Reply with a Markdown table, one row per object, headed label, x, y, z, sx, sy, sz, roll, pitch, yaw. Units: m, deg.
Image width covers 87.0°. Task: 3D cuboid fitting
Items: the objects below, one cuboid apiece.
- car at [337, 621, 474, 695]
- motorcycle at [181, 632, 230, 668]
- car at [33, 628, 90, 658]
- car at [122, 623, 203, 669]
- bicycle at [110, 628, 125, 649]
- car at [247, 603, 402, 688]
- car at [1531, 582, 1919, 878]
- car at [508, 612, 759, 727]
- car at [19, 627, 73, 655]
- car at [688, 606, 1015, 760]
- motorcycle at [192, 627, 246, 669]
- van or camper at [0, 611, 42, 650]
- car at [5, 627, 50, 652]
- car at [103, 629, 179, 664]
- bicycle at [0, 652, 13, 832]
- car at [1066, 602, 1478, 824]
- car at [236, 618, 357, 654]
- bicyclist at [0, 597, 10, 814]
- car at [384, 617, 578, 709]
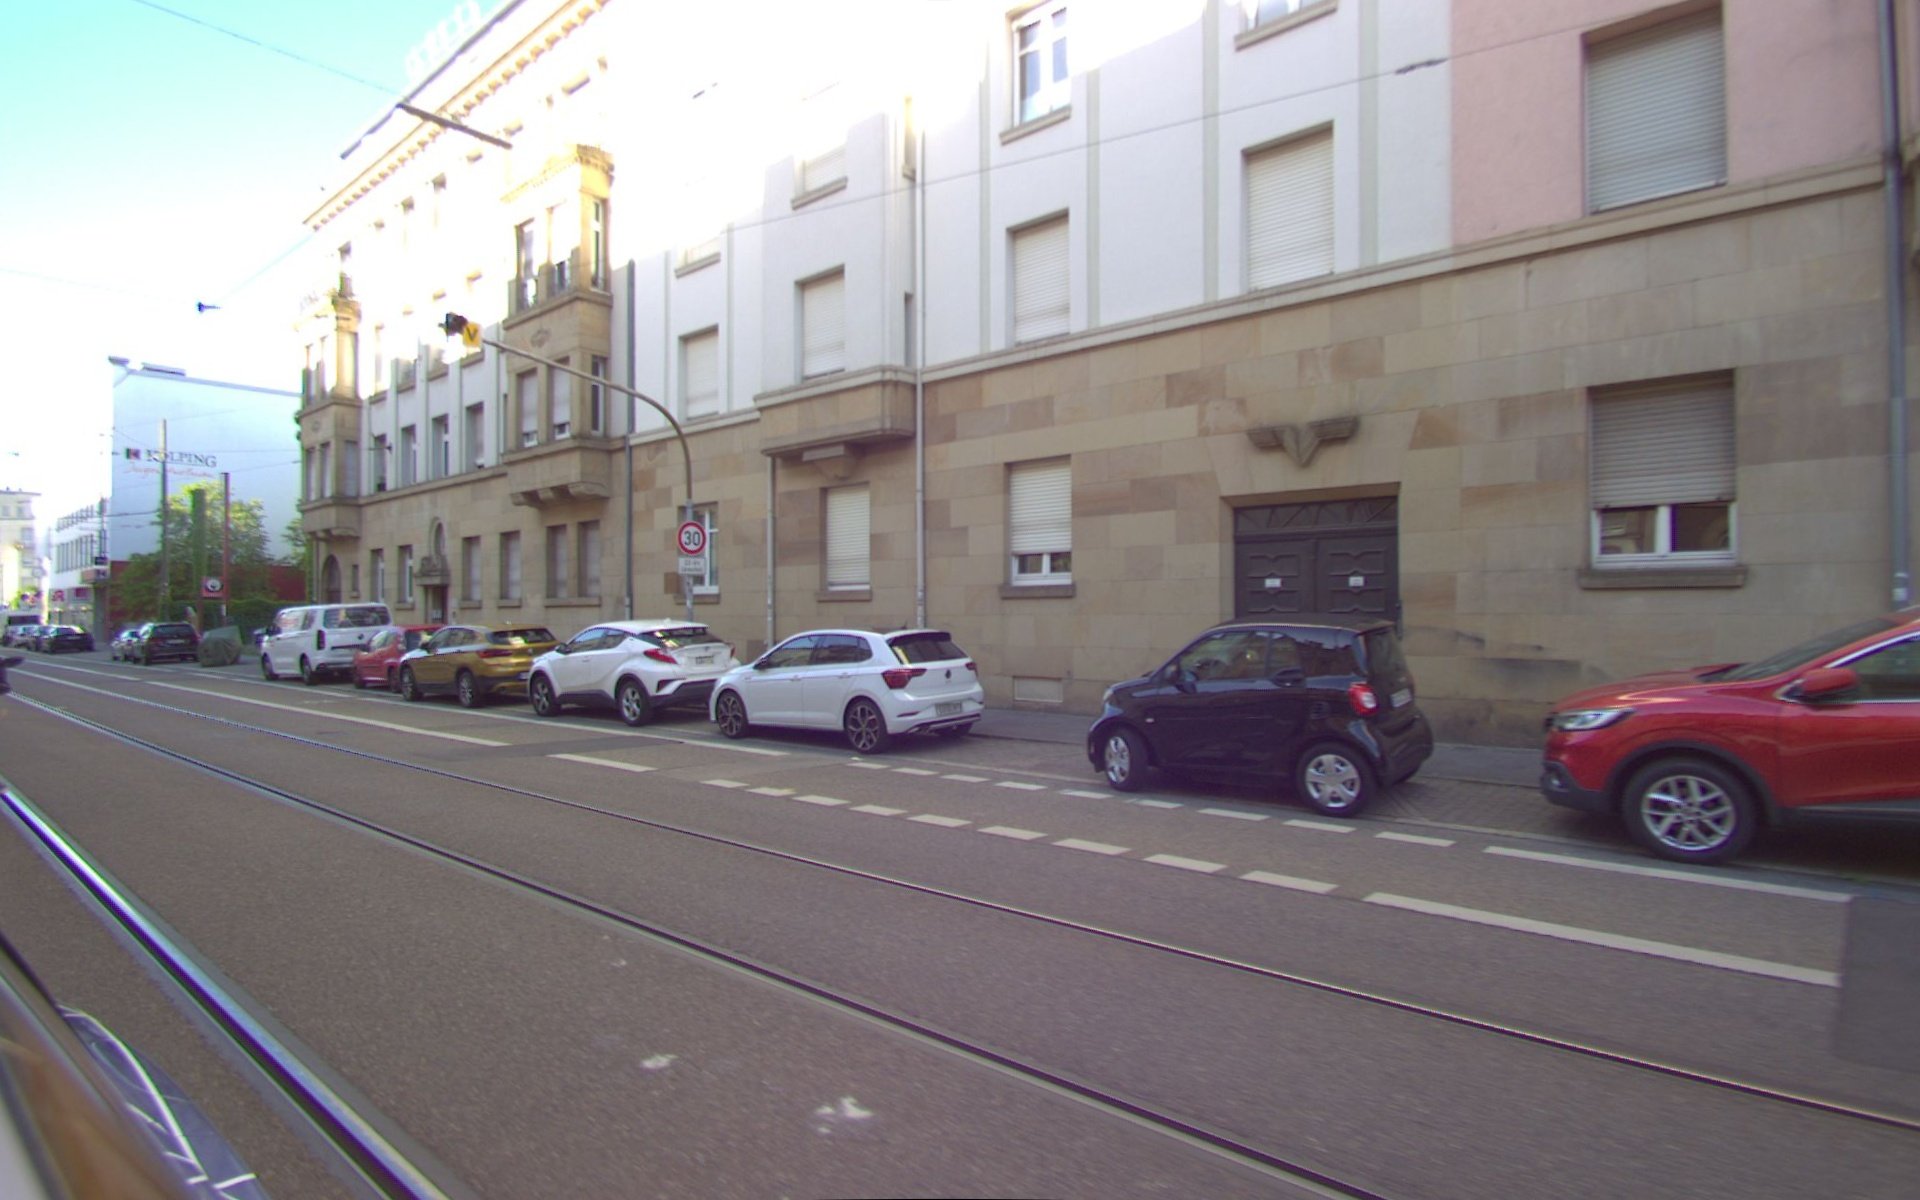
| label | x | y | z | sx | sy | sz | roll | pitch | yaw |
| --- | --- | --- | --- | --- | --- | --- | --- | --- | --- |
| car | -12.723 | 1.268 | 23.137 | 3.645 | 1.484 | 1.586 | -1 | 0 | 42 |
| motorcycle | -26.677 | 1.736 | 35.826 | 0.729 | 1.180 | 2.187 | -1 | -1 | -19 |
| car | -48.574 | 2.287 | 54.662 | 4.840 | 1.456 | 1.764 | -1 | 0 | 42 |
| car | -30.537 | 1.712 | 38.702 | 4.611 | 1.577 | 1.763 | -1 | 0 | 44 |
| bicycle | -49.389 | 2.253 | 59.331 | 2.050 | 1.183 | 0.435 | -1 | -1 | 43 |
| car | -16.715 | 1.138 | 26.488 | 5.248 | 1.963 | 1.953 | -1 | 0 | 41 |
| car | 6.105 | 0.706 | 6.097 | 4.393 | 1.618 | 1.765 | -1 | 0 | 40 |
| car | -5.343 | 1.027 | 16.284 | 4.362 | 1.558 | 1.754 | -1 | 0 | 40 |
| car | -52.885 | 2.320 | 58.518 | 4.697 | 1.492 | 1.765 | -1 | 0 | 41 |
| car | -1.506 | 0.955 | 13.078 | 4.175 | 1.634 | 1.765 | -1 | 0 | 40 |
| motorcycle | -25.254 | 1.625 | 34.517 | 0.871 | 1.361 | 1.963 | -1 | -1 | -16 |
| van or camper | -64.848 | 2.072 | 69.311 | 6.228 | 2.486 | 2.149 | -1 | 0 | 41 |
| car | -59.546 | 2.497 | 64.623 | 4.445 | 1.409 | 1.764 | -1 | 0 | 43 |
| car | -34.178 | 1.892 | 42.201 | 4.219 | 1.324 | 1.764 | -1 | 0 | 42 |
| bicycle | -7.436 | 1.001 | 7.321 | 1.752 | 1.208 | 0.757 | -1 | -2 | 44 |
| car | 2.705 | 0.844 | 8.992 | 3.018 | 1.564 | 1.764 | -1 | 0 | 42 |
| car | -30.045 | 1.591 | 46.057 | 1.977 | 1.529 | 4.785 | -1 | -1 | 8 |
| bicyclist | -7.429 | 0.757 | 7.308 | 0.939 | 1.552 | 0.764 | -2 | -2 | 44 |
| car | -9.385 | 1.143 | 19.677 | 4.357 | 1.535 | 1.765 | -1 | 0 | 41 |
